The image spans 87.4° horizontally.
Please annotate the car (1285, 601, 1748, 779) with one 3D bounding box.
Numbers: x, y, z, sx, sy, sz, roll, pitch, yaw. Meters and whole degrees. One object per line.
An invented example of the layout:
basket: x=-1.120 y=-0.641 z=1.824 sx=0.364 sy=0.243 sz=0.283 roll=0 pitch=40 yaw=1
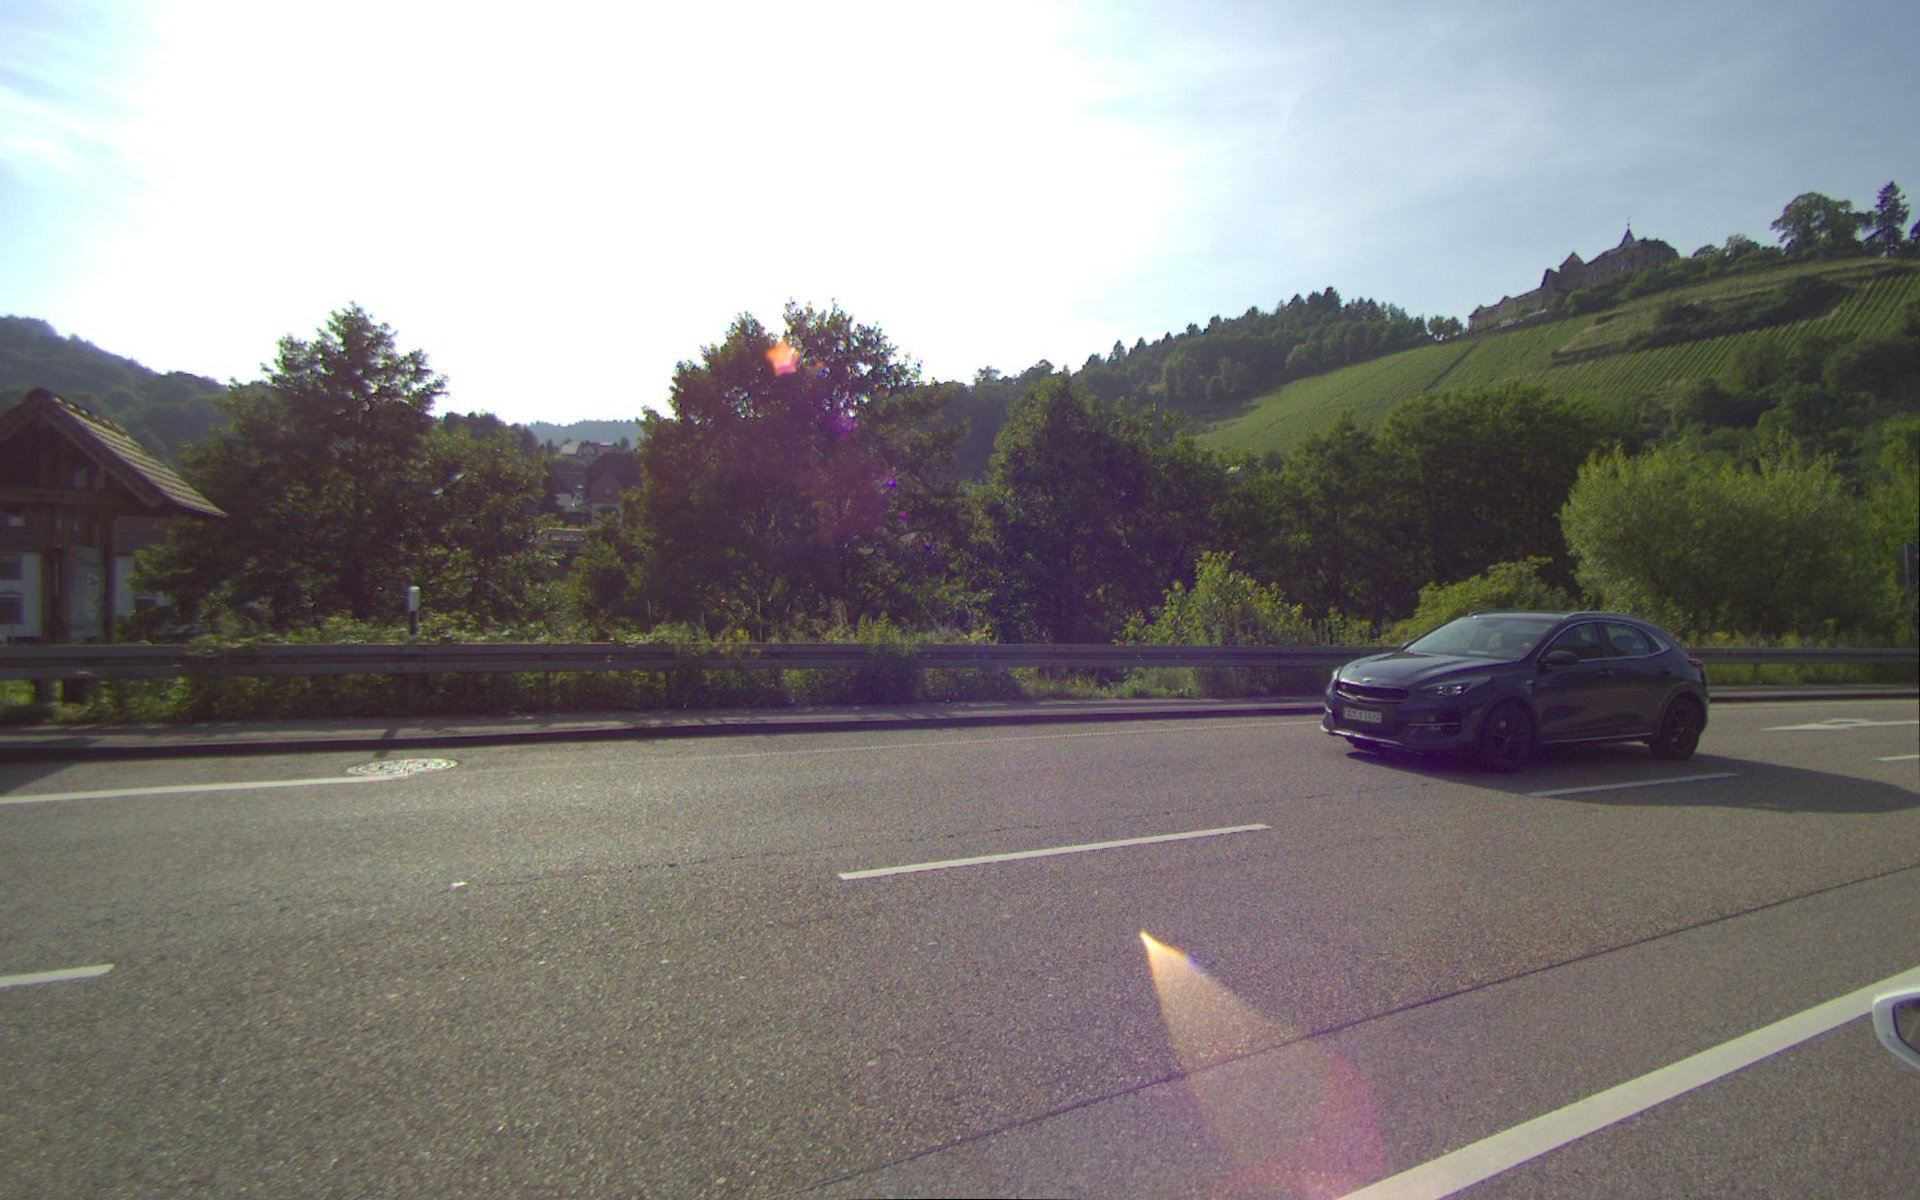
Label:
car: x=5.772 y=0.818 z=10.392 sx=4.479 sy=1.489 sz=1.846 roll=1 pitch=1 yaw=-24
